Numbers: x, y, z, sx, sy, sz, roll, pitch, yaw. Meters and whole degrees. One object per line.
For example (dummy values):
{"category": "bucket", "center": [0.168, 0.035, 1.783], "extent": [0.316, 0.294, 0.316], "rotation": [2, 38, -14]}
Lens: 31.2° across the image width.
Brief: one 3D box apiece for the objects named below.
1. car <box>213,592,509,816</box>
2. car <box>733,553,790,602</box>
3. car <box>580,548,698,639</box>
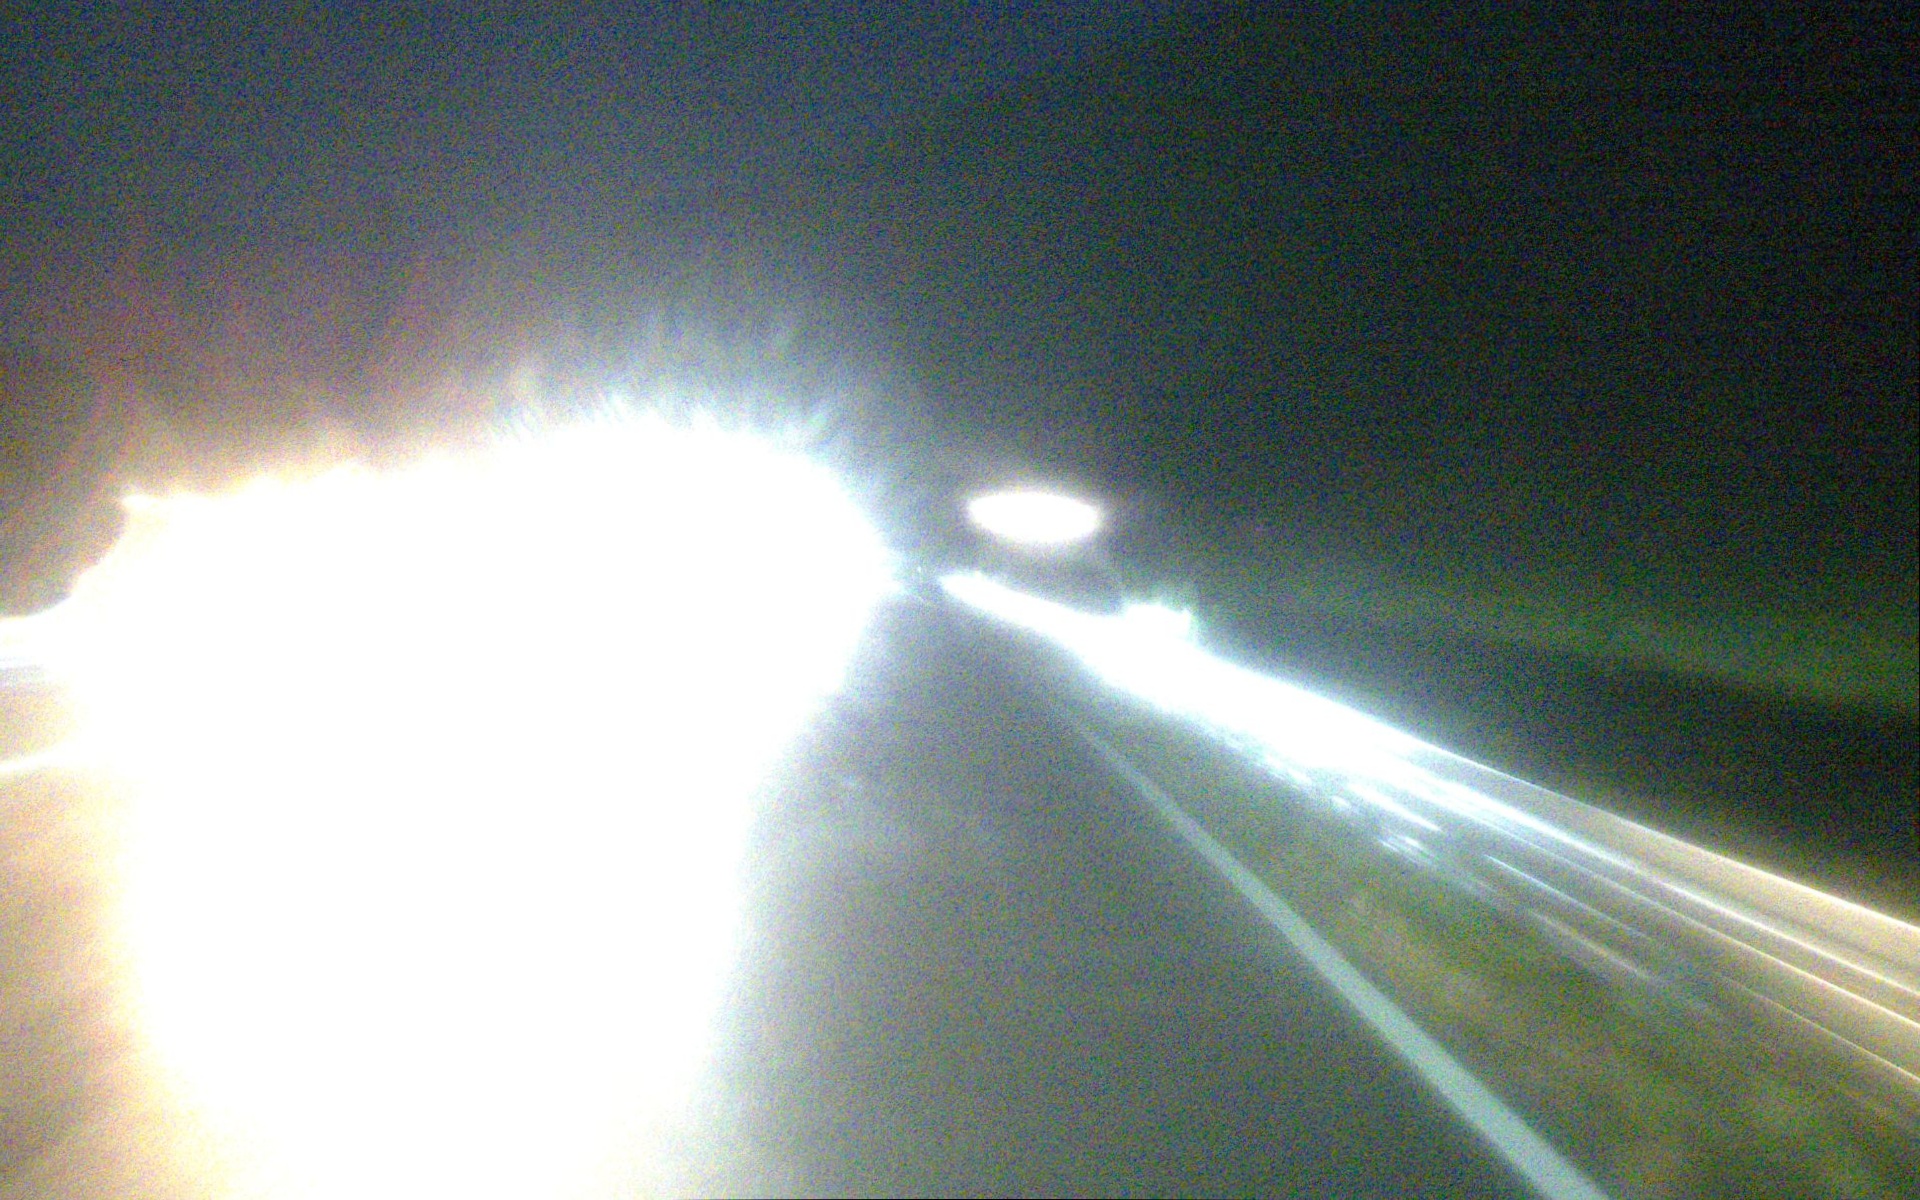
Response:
{"category": "car", "center": [-4.290, 0.703, 25.029], "extent": [1.665, 1.451, 3.427], "rotation": [1, 1, -2]}
{"category": "car", "center": [-6.781, -0.779, 117.713], "extent": [1.868, 1.607, 3.847], "rotation": [1, 1, -2]}
{"category": "car", "center": [-5.015, -0.131, 54.088], "extent": [1.641, 1.355, 3.681], "rotation": [1, 1, -2]}
